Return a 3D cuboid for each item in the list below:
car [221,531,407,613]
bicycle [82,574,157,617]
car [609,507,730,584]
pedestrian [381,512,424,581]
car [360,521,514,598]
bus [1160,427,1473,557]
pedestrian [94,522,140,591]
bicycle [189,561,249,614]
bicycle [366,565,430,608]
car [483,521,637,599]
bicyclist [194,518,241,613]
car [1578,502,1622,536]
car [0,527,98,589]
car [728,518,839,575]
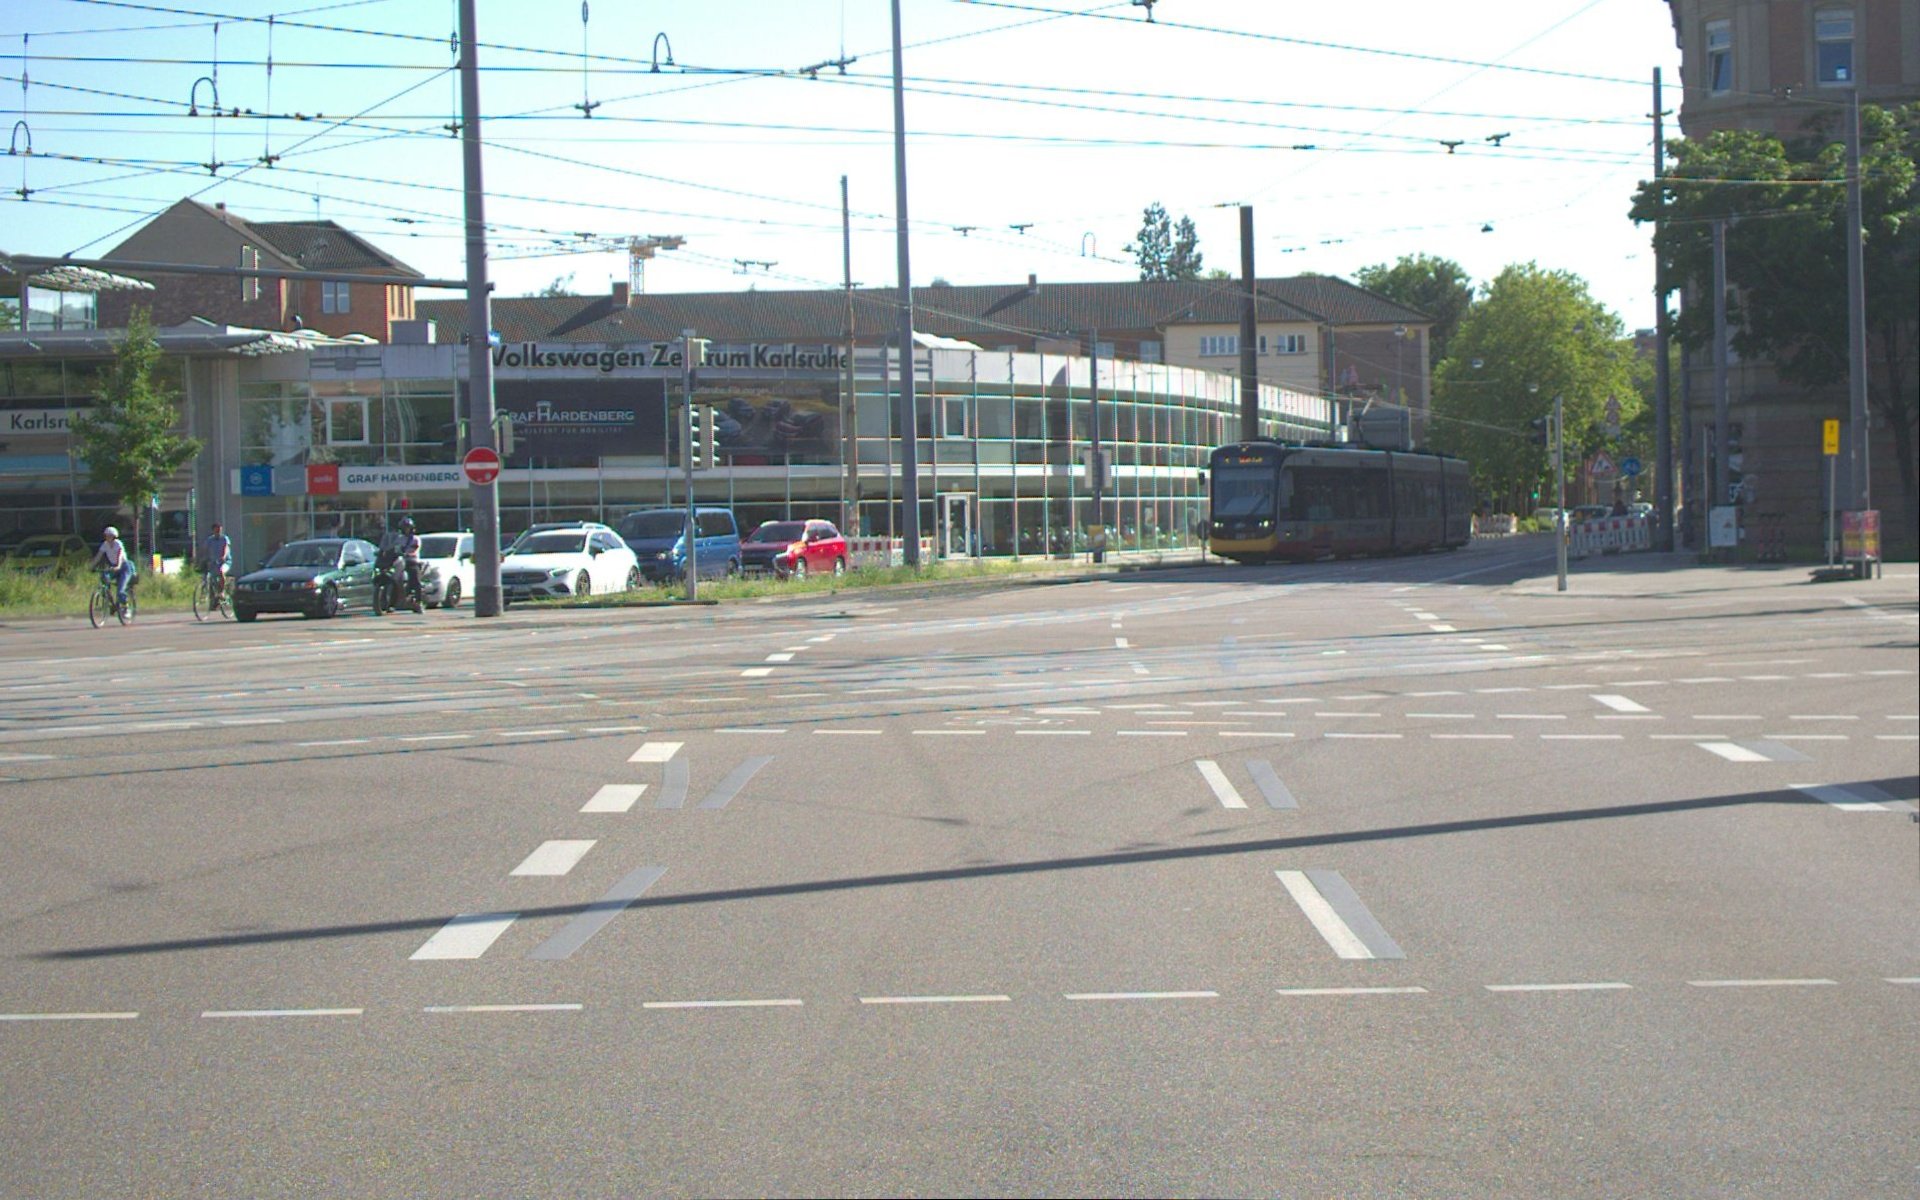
[{"bbox_3d":[-11.392,-0.511,60.874,1.705,1.349,3.698,-1,1,17],"label":"car"},{"bbox_3d":[-14.803,-0.084,60.566,0.423,0.715,1.473,0,1,26],"label":"bicycle"},{"bbox_3d":[-6.650,-1.274,78.956,1.627,1.686,3.683,-1,1,14],"label":"car"},{"bbox_3d":[-9.793,-0.947,60.400,0.423,1.200,0.749,-1,1,17],"label":"pedestrian"},{"bbox_3d":[-10.124,-0.801,66.826,1.627,1.419,3.683,-1,1,14],"label":"car"},{"bbox_3d":[11.632,-3.155,107.333,3.840,3.595,24.841,1,1,20],"label":"bus"},{"bbox_3d":[-14.835,-0.768,60.515,0.423,1.200,0.679,-1,1,26],"label":"pedestrian"},{"bbox_3d":[-13.497,-0.237,62.639,0.468,0.923,1.474,-1,1,13],"label":"bicycle"},{"bbox_3d":[-9.845,-0.245,60.271,0.423,0.715,1.633,-1,1,17],"label":"bicycle"},{"bbox_3d":[-7.525,-0.775,64.944,1.627,1.377,3.735,-1,1,14],"label":"car"},{"bbox_3d":[-13.507,-0.632,62.530,0.569,1.708,0.648,-1,1,14],"label":"bicyclist"},{"bbox_3d":[29.798,-3.779,159.925,1.700,1.497,4.262,-1,1,14],"label":"car"},{"bbox_3d":[-26.538,-1.239,99.874,1.966,1.700,4.084,-1,1,-1],"label":"car"},{"bbox_3d":[-4.402,-1.346,86.084,1.627,1.359,3.683,-1,1,16],"label":"car"}]
